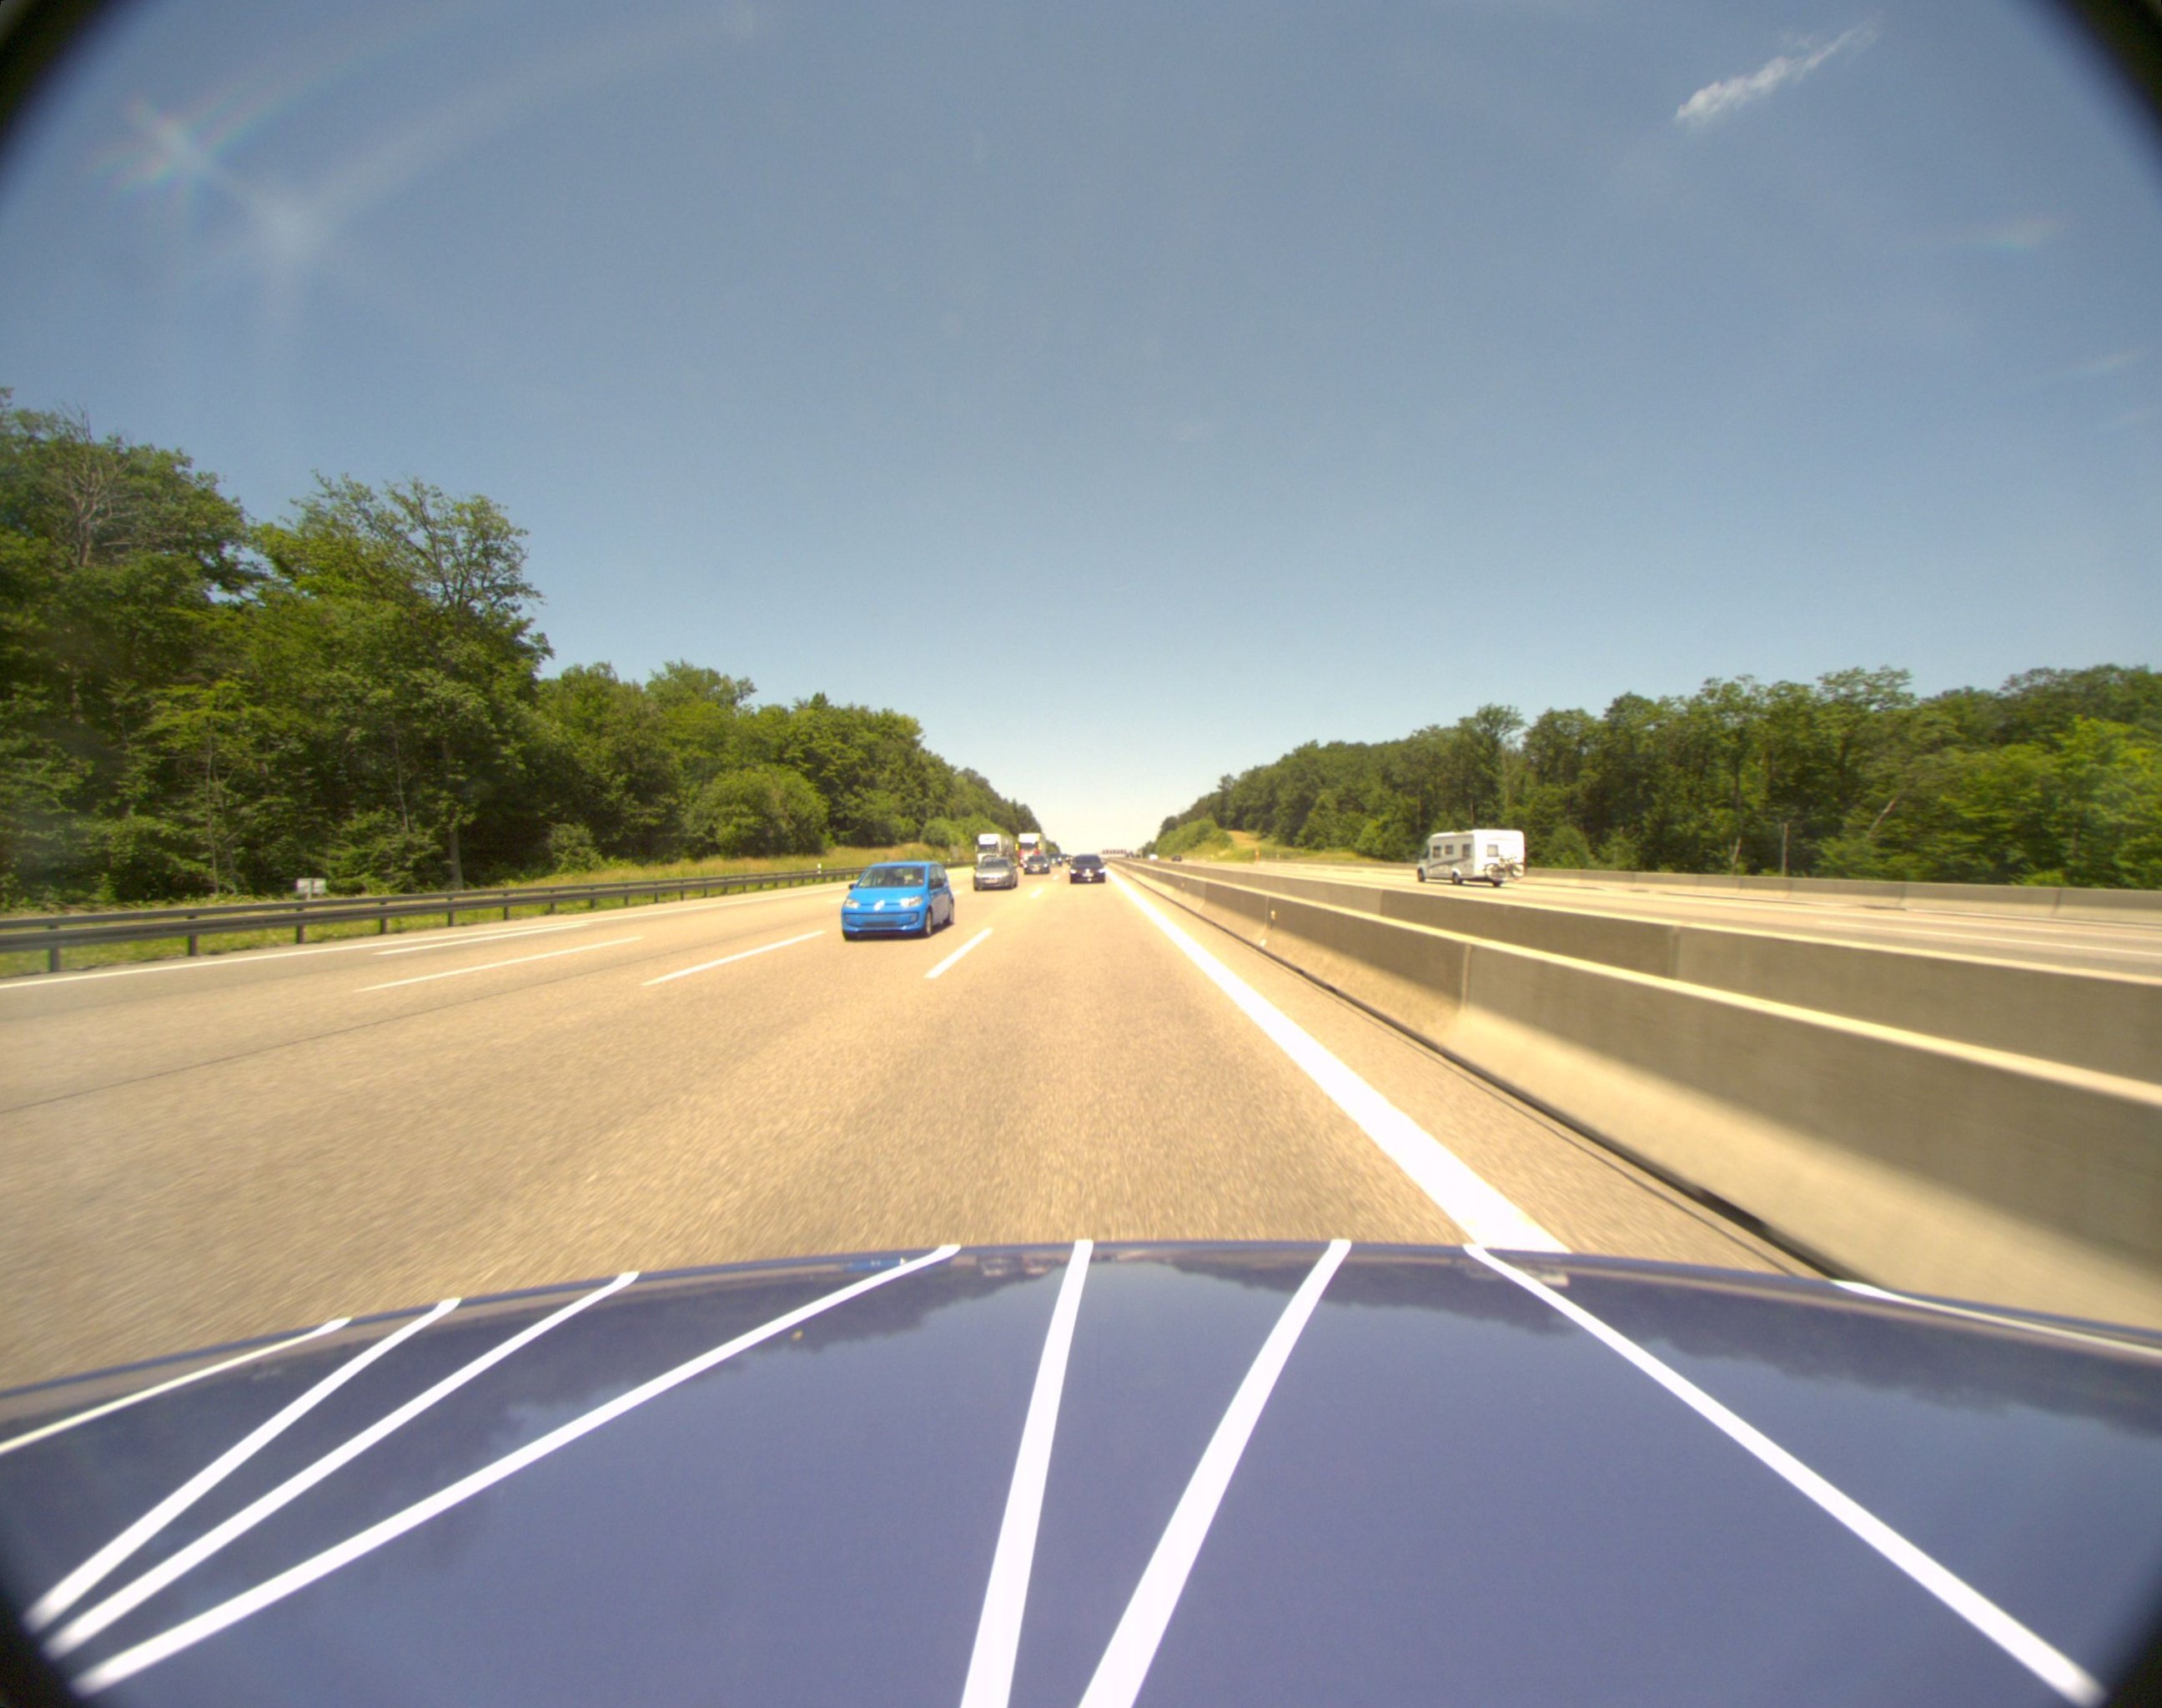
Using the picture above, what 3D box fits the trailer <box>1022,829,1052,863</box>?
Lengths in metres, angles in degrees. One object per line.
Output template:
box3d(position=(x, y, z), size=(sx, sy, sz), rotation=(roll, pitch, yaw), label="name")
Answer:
box3d(position=(-5.777, -0.949, 102.519), size=(2.926, 4.118, 14.851), rotation=(-1, -1, 1), label="trailer")

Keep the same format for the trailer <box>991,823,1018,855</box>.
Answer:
box3d(position=(-10.349, -1.960, 103.942), size=(2.585, 4.045, 8.384), rotation=(-2, 0, 1), label="trailer")

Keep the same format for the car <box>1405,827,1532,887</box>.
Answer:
box3d(position=(19.102, 0.098, 38.116), size=(2.227, 2.643, 8.174), rotation=(1, 1, 1), label="car")

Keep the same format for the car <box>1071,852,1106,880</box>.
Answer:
box3d(position=(0.430, 0.649, 42.321), size=(1.777, 1.425, 4.144), rotation=(-2, 0, 1), label="car")

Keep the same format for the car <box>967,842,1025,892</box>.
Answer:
box3d(position=(-3.785, 0.531, 34.614), size=(1.966, 2.041, 4.784), rotation=(-2, 0, 1), label="car")

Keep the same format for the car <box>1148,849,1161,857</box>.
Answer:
box3d(position=(12.984, -0.156, 134.613), size=(1.843, 1.433, 3.999), rotation=(-1, 1, 0), label="car")

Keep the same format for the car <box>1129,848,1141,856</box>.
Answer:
box3d(position=(9.901, -0.354, 138.871), size=(1.843, 1.433, 4.844), rotation=(-1, 1, 0), label="car")

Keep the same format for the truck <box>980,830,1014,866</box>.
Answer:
box3d(position=(-10.484, -0.699, 95.673), size=(2.728, 4.136, 10.970), rotation=(-2, 0, 1), label="truck")

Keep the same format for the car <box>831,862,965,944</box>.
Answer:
box3d(position=(-3.651, 0.920, 15.897), size=(1.741, 1.403, 4.000), rotation=(-1, 0, 1), label="car")

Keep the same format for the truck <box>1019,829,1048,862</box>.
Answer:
box3d(position=(-5.908, -1.000, 95.837), size=(3.018, 3.957, 7.541), rotation=(-2, -1, 1), label="truck")

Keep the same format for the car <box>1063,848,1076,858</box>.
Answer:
box3d(position=(-1.864, -0.226, 122.512), size=(1.910, 1.503, 4.160), rotation=(-2, 0, 2), label="car")

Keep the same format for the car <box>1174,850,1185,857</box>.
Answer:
box3d(position=(21.145, -0.159, 163.186), size=(1.843, 1.433, 4.763), rotation=(1, 0, 0), label="car")

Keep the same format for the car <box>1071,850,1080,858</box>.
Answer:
box3d(position=(-1.076, 0.044, 157.074), size=(1.715, 1.308, 3.490), rotation=(-6, 2, 1), label="car")

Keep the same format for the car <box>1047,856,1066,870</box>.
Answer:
box3d(position=(-2.862, 1.072, 88.906), size=(1.910, 1.503, 4.160), rotation=(-2, 0, 2), label="car")

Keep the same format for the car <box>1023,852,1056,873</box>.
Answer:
box3d(position=(-3.126, 0.631, 58.212), size=(1.971, 1.444, 5.225), rotation=(-2, 0, 3), label="car")
